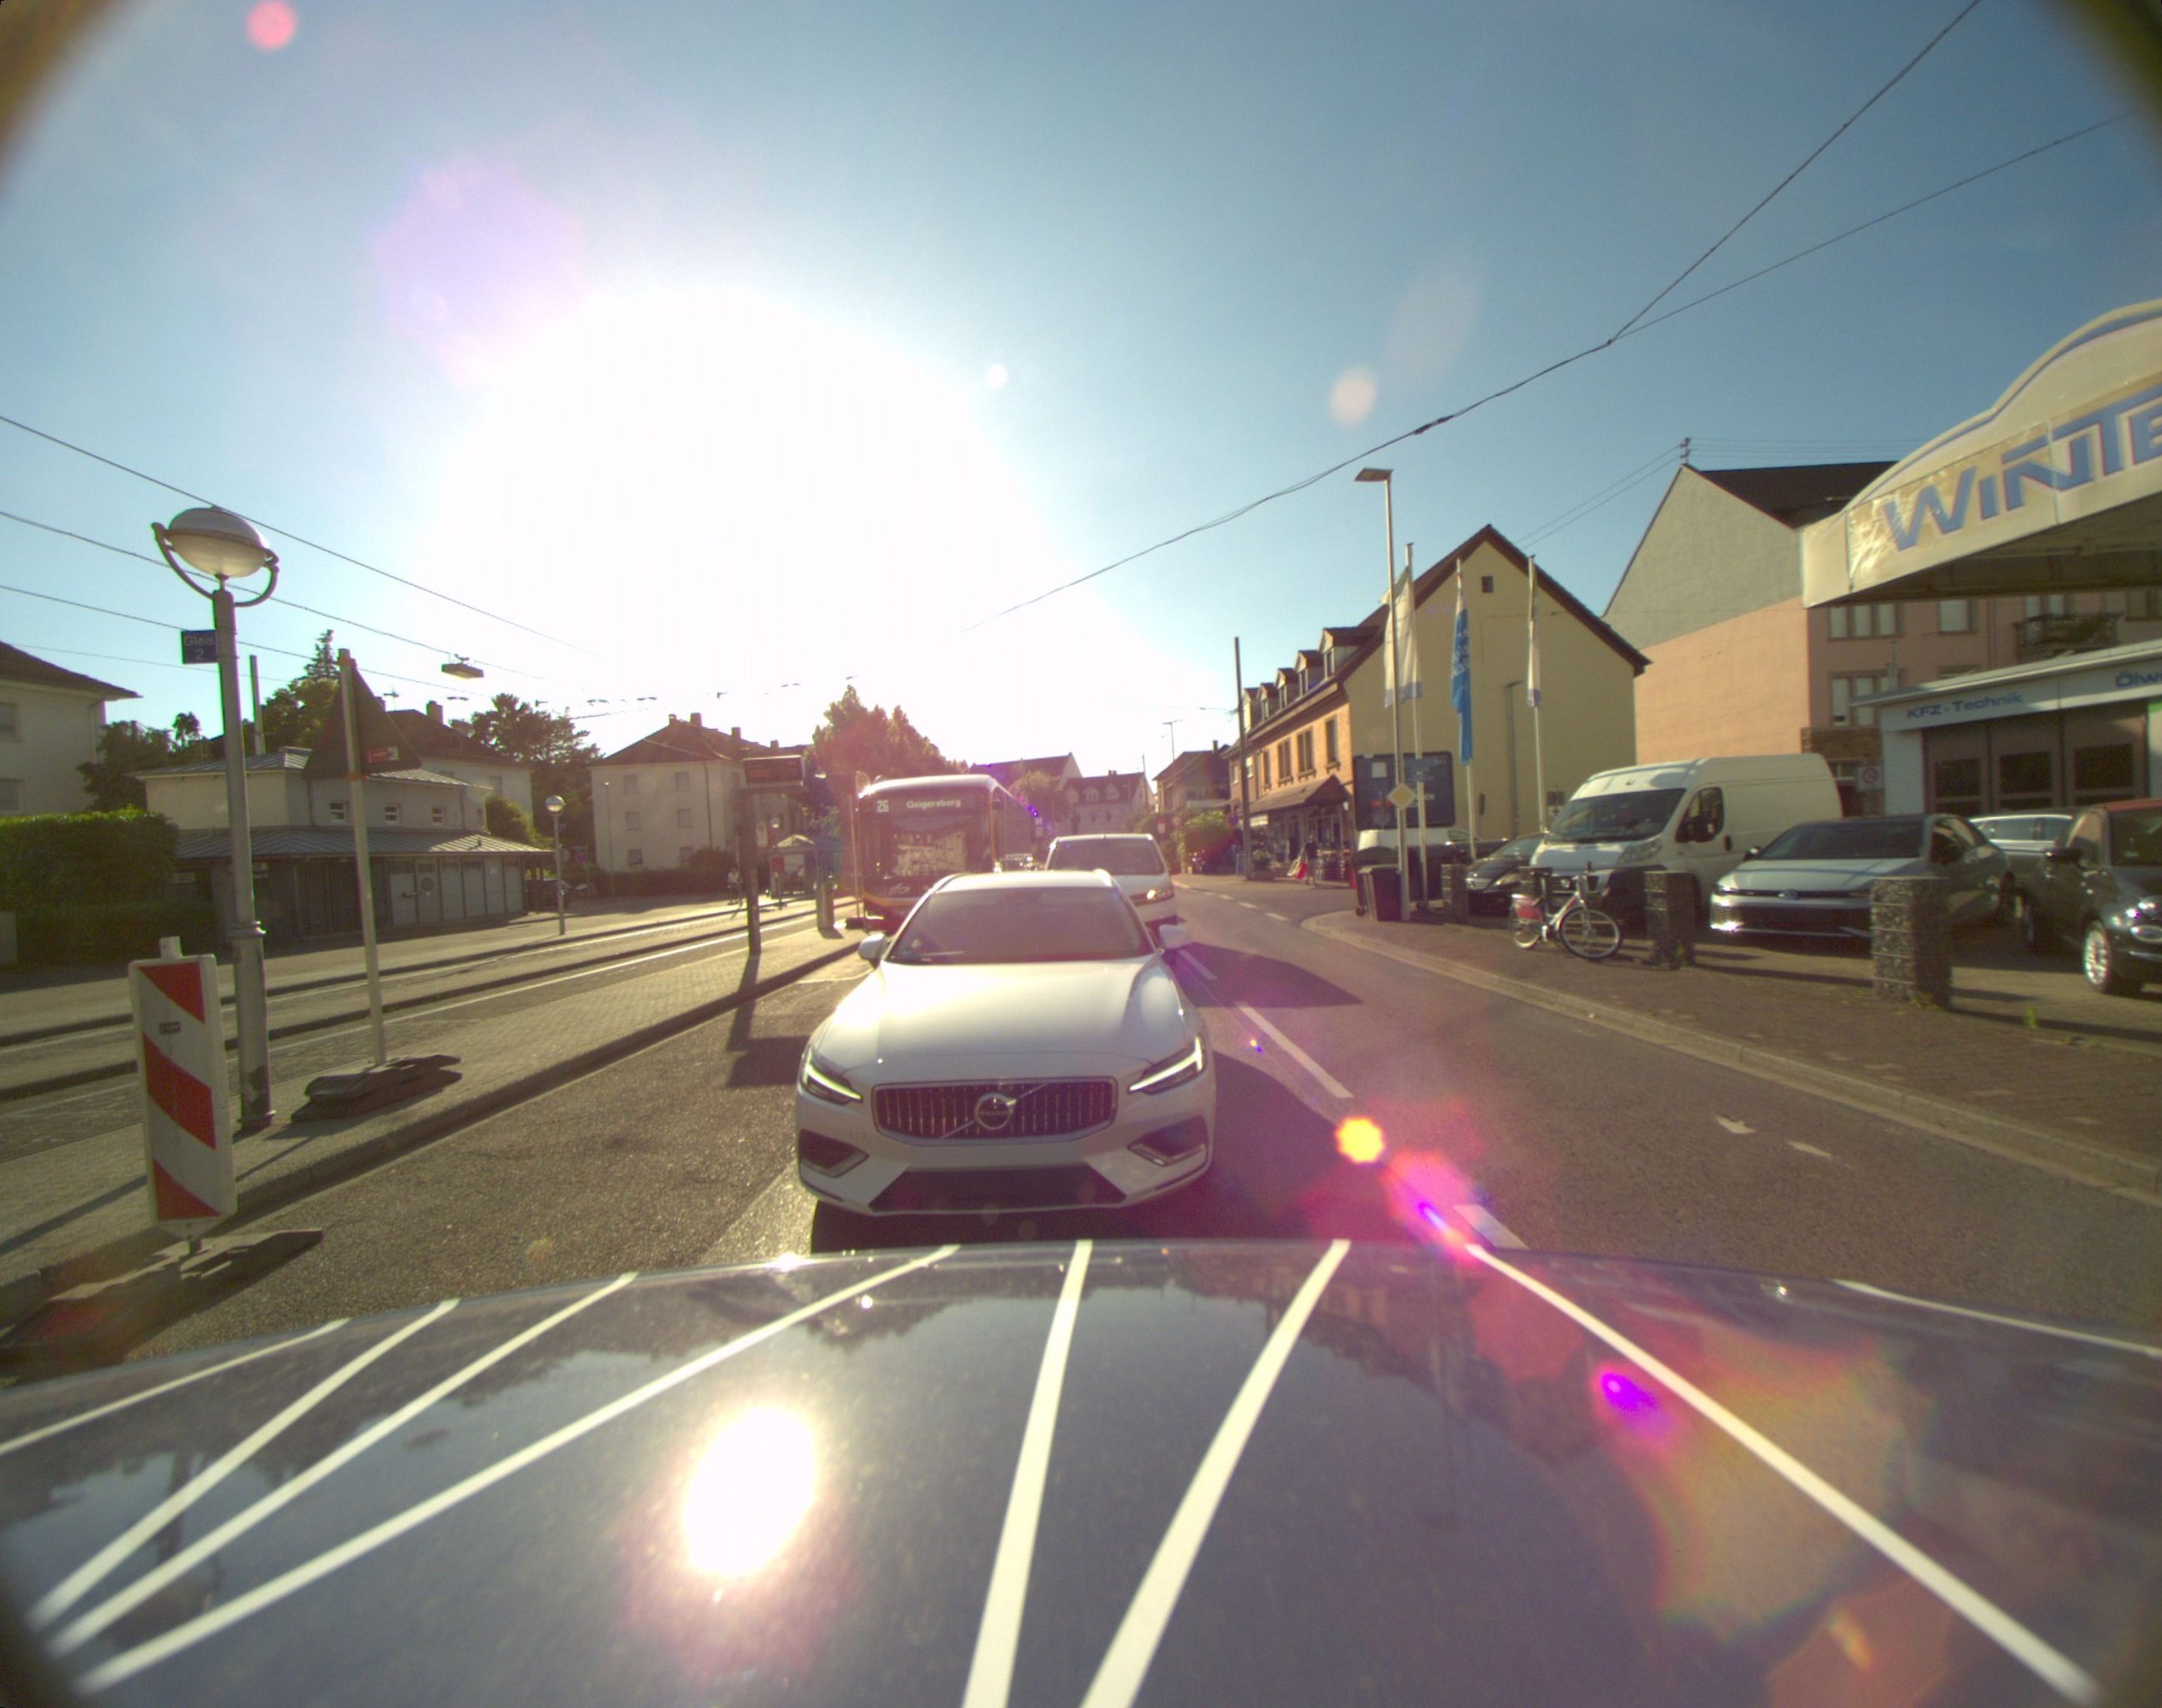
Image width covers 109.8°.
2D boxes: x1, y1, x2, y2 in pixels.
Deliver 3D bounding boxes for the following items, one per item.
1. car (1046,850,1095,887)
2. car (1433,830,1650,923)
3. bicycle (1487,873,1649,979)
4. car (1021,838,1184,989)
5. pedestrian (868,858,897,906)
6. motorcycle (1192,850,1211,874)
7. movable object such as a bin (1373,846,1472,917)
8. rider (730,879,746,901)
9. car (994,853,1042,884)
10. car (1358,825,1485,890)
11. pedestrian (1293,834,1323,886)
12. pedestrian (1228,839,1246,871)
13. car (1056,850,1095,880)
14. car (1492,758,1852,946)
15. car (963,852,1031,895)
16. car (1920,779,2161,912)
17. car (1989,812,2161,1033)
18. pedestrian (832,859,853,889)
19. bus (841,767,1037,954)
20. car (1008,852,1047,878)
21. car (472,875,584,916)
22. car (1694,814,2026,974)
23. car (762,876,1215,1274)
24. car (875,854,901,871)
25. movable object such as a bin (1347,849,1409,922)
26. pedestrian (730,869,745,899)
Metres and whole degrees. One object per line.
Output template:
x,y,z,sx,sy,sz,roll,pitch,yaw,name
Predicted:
-0.392,0.585,33.259,1.969,1.450,4.824,-2,0,1,car
8.966,0.376,14.746,4.036,1.469,1.739,-3,1,-28,car
5.881,0.816,9.312,0.725,1.080,1.791,-3,1,-3,bicycle
0.302,0.735,12.008,1.969,1.816,5.033,-2,0,1,car
-7.319,1.013,28.056,0.842,1.708,0.825,-2,1,-4,pedestrian
6.352,0.419,40.118,0.708,1.210,2.186,-2,1,3,motorcycle
7.592,0.581,16.912,1.798,1.456,1.046,-3,1,-25,movable object such as a bin
-16.439,1.712,36.381,0.581,0.986,1.853,-3,1,-27,rider
-3.229,0.707,39.888,1.969,1.450,4.824,-2,0,1,car
11.564,0.100,25.921,3.672,2.002,1.451,-2,1,-3,car
8.168,0.204,27.371,0.822,1.842,0.767,-2,1,3,pedestrian
8.528,0.024,41.516,0.809,1.703,0.859,-2,1,2,pedestrian
-0.253,0.568,41.507,1.969,1.450,4.824,-2,0,1,car
9.142,-0.132,11.759,4.997,2.440,2.111,-3,1,-22,car
-3.152,0.707,29.499,1.969,1.450,4.824,-2,0,1,car
16.480,-0.170,11.986,1.742,1.933,4.257,-3,1,-1,car
9.075,0.414,6.164,1.590,1.488,3.442,-2,1,40,car
-13.318,1.117,42.465,0.842,1.601,0.825,-2,1,-1,pedestrian
-2.920,0.096,19.832,2.748,3.284,12.030,-2,0,0,bus
-3.272,0.633,47.302,1.969,1.450,4.824,-2,0,1,car
-27.688,2.048,38.138,4.052,1.663,2.000,-4,1,2,car
9.489,0.362,9.210,4.036,1.488,1.739,-3,1,-28,car
-0.354,0.983,5.255,1.821,1.446,4.217,-2,0,1,car
-23.261,1.019,91.771,1.998,1.853,3.999,-2,1,1,car
6.235,0.643,15.949,1.045,1.456,0.797,-2,1,32,movable object such as a bin
-16.443,1.428,36.366,0.581,1.373,0.657,-3,1,-27,pedestrian
